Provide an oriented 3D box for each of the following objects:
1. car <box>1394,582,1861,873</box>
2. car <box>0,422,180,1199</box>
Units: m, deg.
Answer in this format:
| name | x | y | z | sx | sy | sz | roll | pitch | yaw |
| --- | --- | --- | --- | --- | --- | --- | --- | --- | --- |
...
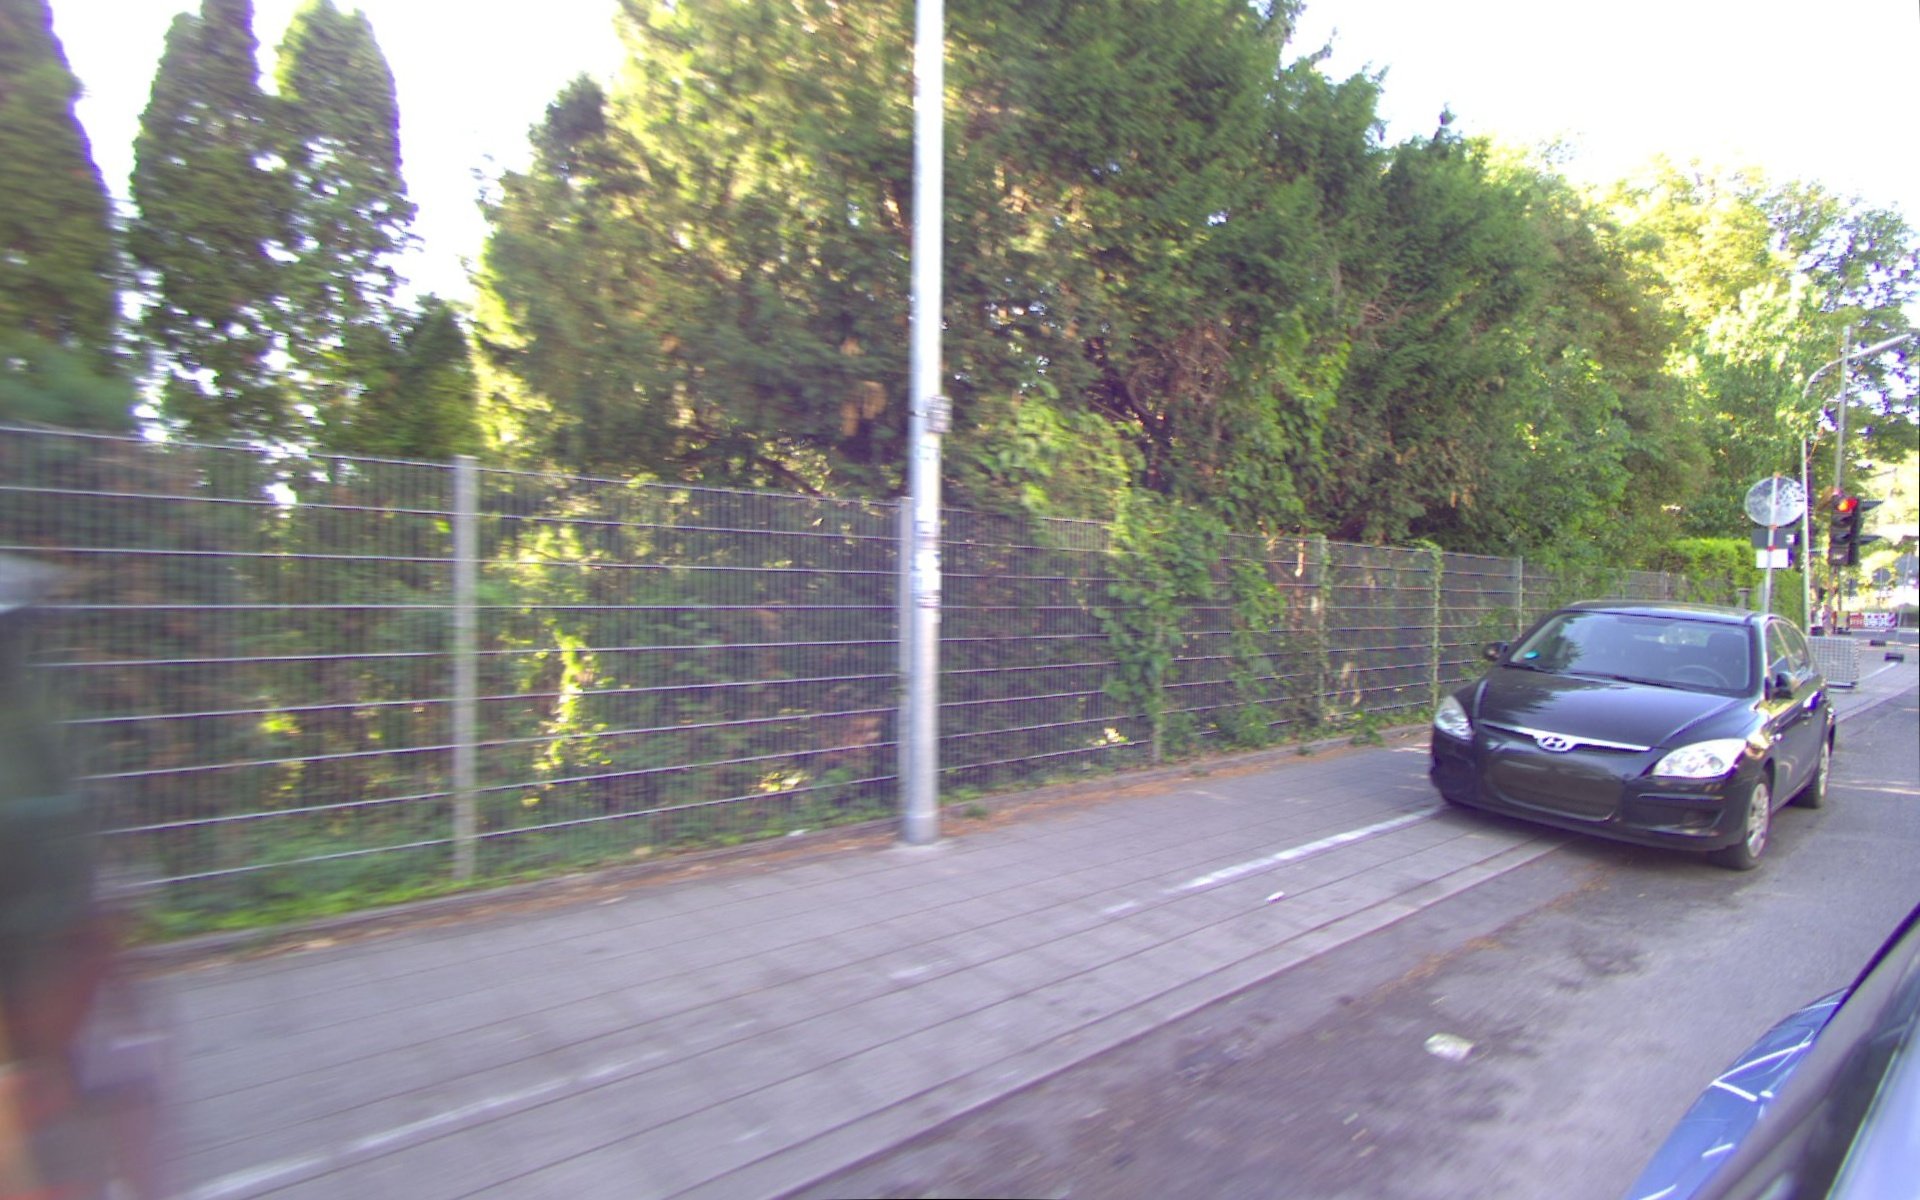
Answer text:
| name | x | y | z | sx | sy | sz | roll | pitch | yaw |
| --- | --- | --- | --- | --- | --- | --- | --- | --- | --- |
| car | 4.849 | 0.638 | 7.132 | 3.931 | 1.459 | 1.797 | 0 | 1 | -42 |
| car | -2.279 | 0.584 | 0.623 | 2.821 | 1.582 | 1.658 | 0 | 5 | -39 |
